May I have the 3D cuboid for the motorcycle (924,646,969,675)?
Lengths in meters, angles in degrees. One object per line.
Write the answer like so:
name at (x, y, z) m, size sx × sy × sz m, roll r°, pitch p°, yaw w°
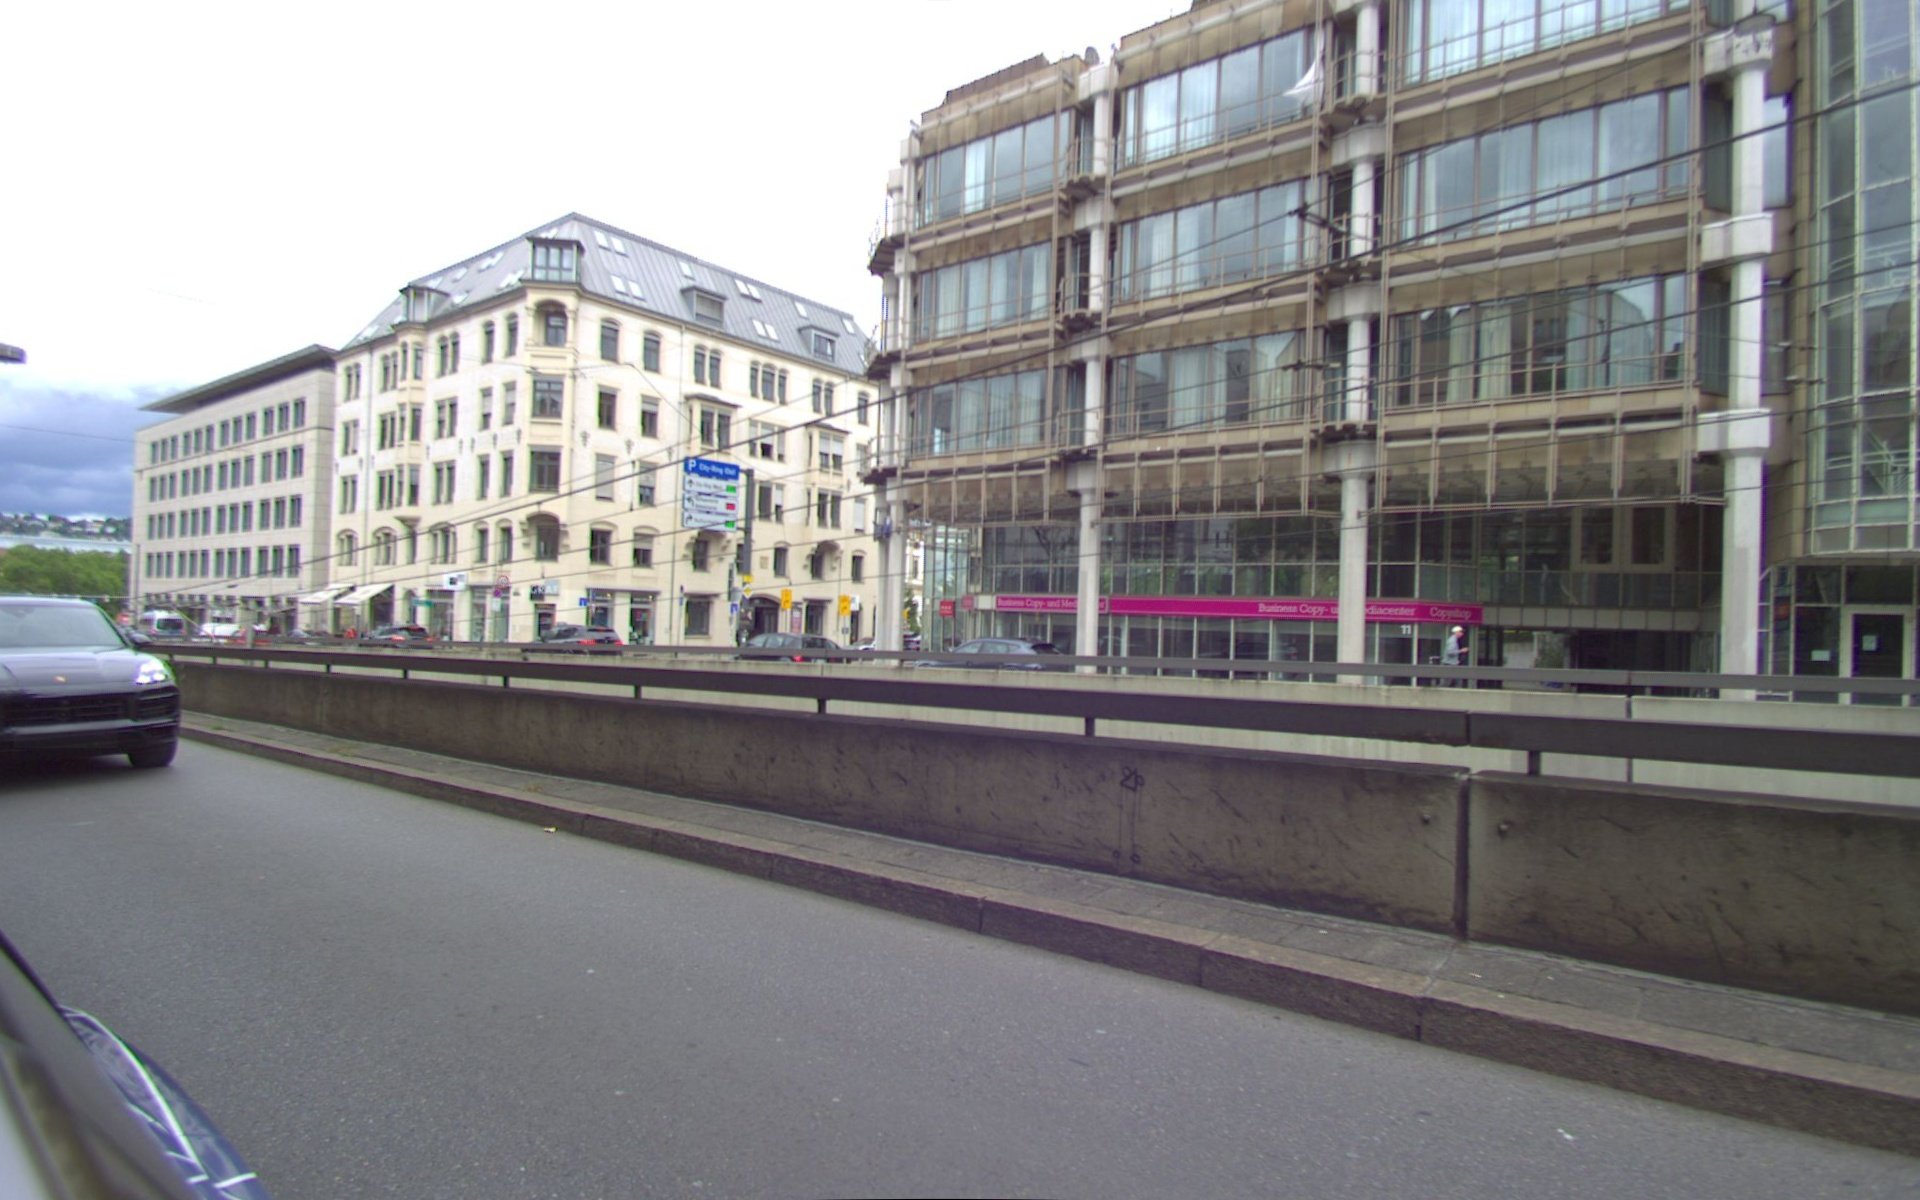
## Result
motorcycle at (-0.531, 2.346, 39.461) m, size 1.660 × 1.083 × 0.640 m, roll 0°, pitch -1°, yaw 19°

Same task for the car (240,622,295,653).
car at (-47.327, 2.551, 69.160) m, size 3.995 × 2.029 × 1.974 m, roll -1°, pitch -3°, yaw 39°

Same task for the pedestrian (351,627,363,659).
pedestrian at (-35.051, 2.496, 58.847) m, size 0.502 × 1.793 × 0.579 m, roll 1°, pitch -2°, yaw -27°

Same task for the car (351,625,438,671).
car at (-26.804, 2.206, 47.922) m, size 4.785 × 2.029 × 1.974 m, roll -1°, pitch -1°, yaw 39°

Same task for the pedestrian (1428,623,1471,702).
pedestrian at (11.497, 1.442, 23.782) m, size 0.739 × 1.806 × 0.723 m, roll -1°, pitch -1°, yaw 40°

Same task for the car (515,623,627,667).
car at (-14.768, 1.657, 38.334) m, size 4.635 × 1.572 × 1.796 m, roll -1°, pitch -3°, yaw 38°

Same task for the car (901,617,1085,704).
car at (0.782, 1.440, 25.572) m, size 4.374 × 1.929 × 1.974 m, roll 0°, pitch 0°, yaw 39°

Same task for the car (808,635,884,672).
car at (-5.343, 2.502, 47.748) m, size 1.646 × 1.674 × 3.557 m, roll -1°, pitch -3°, yaw 35°

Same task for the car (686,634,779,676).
car at (-9.470, 2.267, 42.320) m, size 1.647 × 1.674 × 3.605 m, roll -1°, pitch -3°, yaw 36°

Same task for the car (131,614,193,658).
car at (-57.550, 2.530, 72.957) m, size 5.463 × 3.084 × 2.341 m, roll -1°, pitch -1°, yaw 39°

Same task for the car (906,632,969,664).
car at (-1.213, 2.590, 55.019) m, size 1.646 × 1.674 × 3.557 m, roll -1°, pitch -3°, yaw 35°

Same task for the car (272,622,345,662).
car at (-35.697, 2.259, 55.424) m, size 4.785 × 2.029 × 1.974 m, roll -1°, pitch -1°, yaw 39°

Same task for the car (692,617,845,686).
car at (-5.933, 1.531, 31.117) m, size 4.783 × 1.978 × 1.974 m, roll -1°, pitch -3°, yaw 38°

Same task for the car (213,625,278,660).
car at (-43.243, 2.525, 61.233) m, size 4.785 × 2.029 × 1.974 m, roll -1°, pitch -1°, yaw 39°

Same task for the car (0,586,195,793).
car at (-9.721, 0.790, 10.137) m, size 5.346 × 1.688 × 2.062 m, roll -2°, pitch -1°, yaw 39°

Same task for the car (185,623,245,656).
car at (-48.077, 2.523, 65.309) m, size 4.785 × 2.029 × 1.974 m, roll -1°, pitch -1°, yaw 39°
